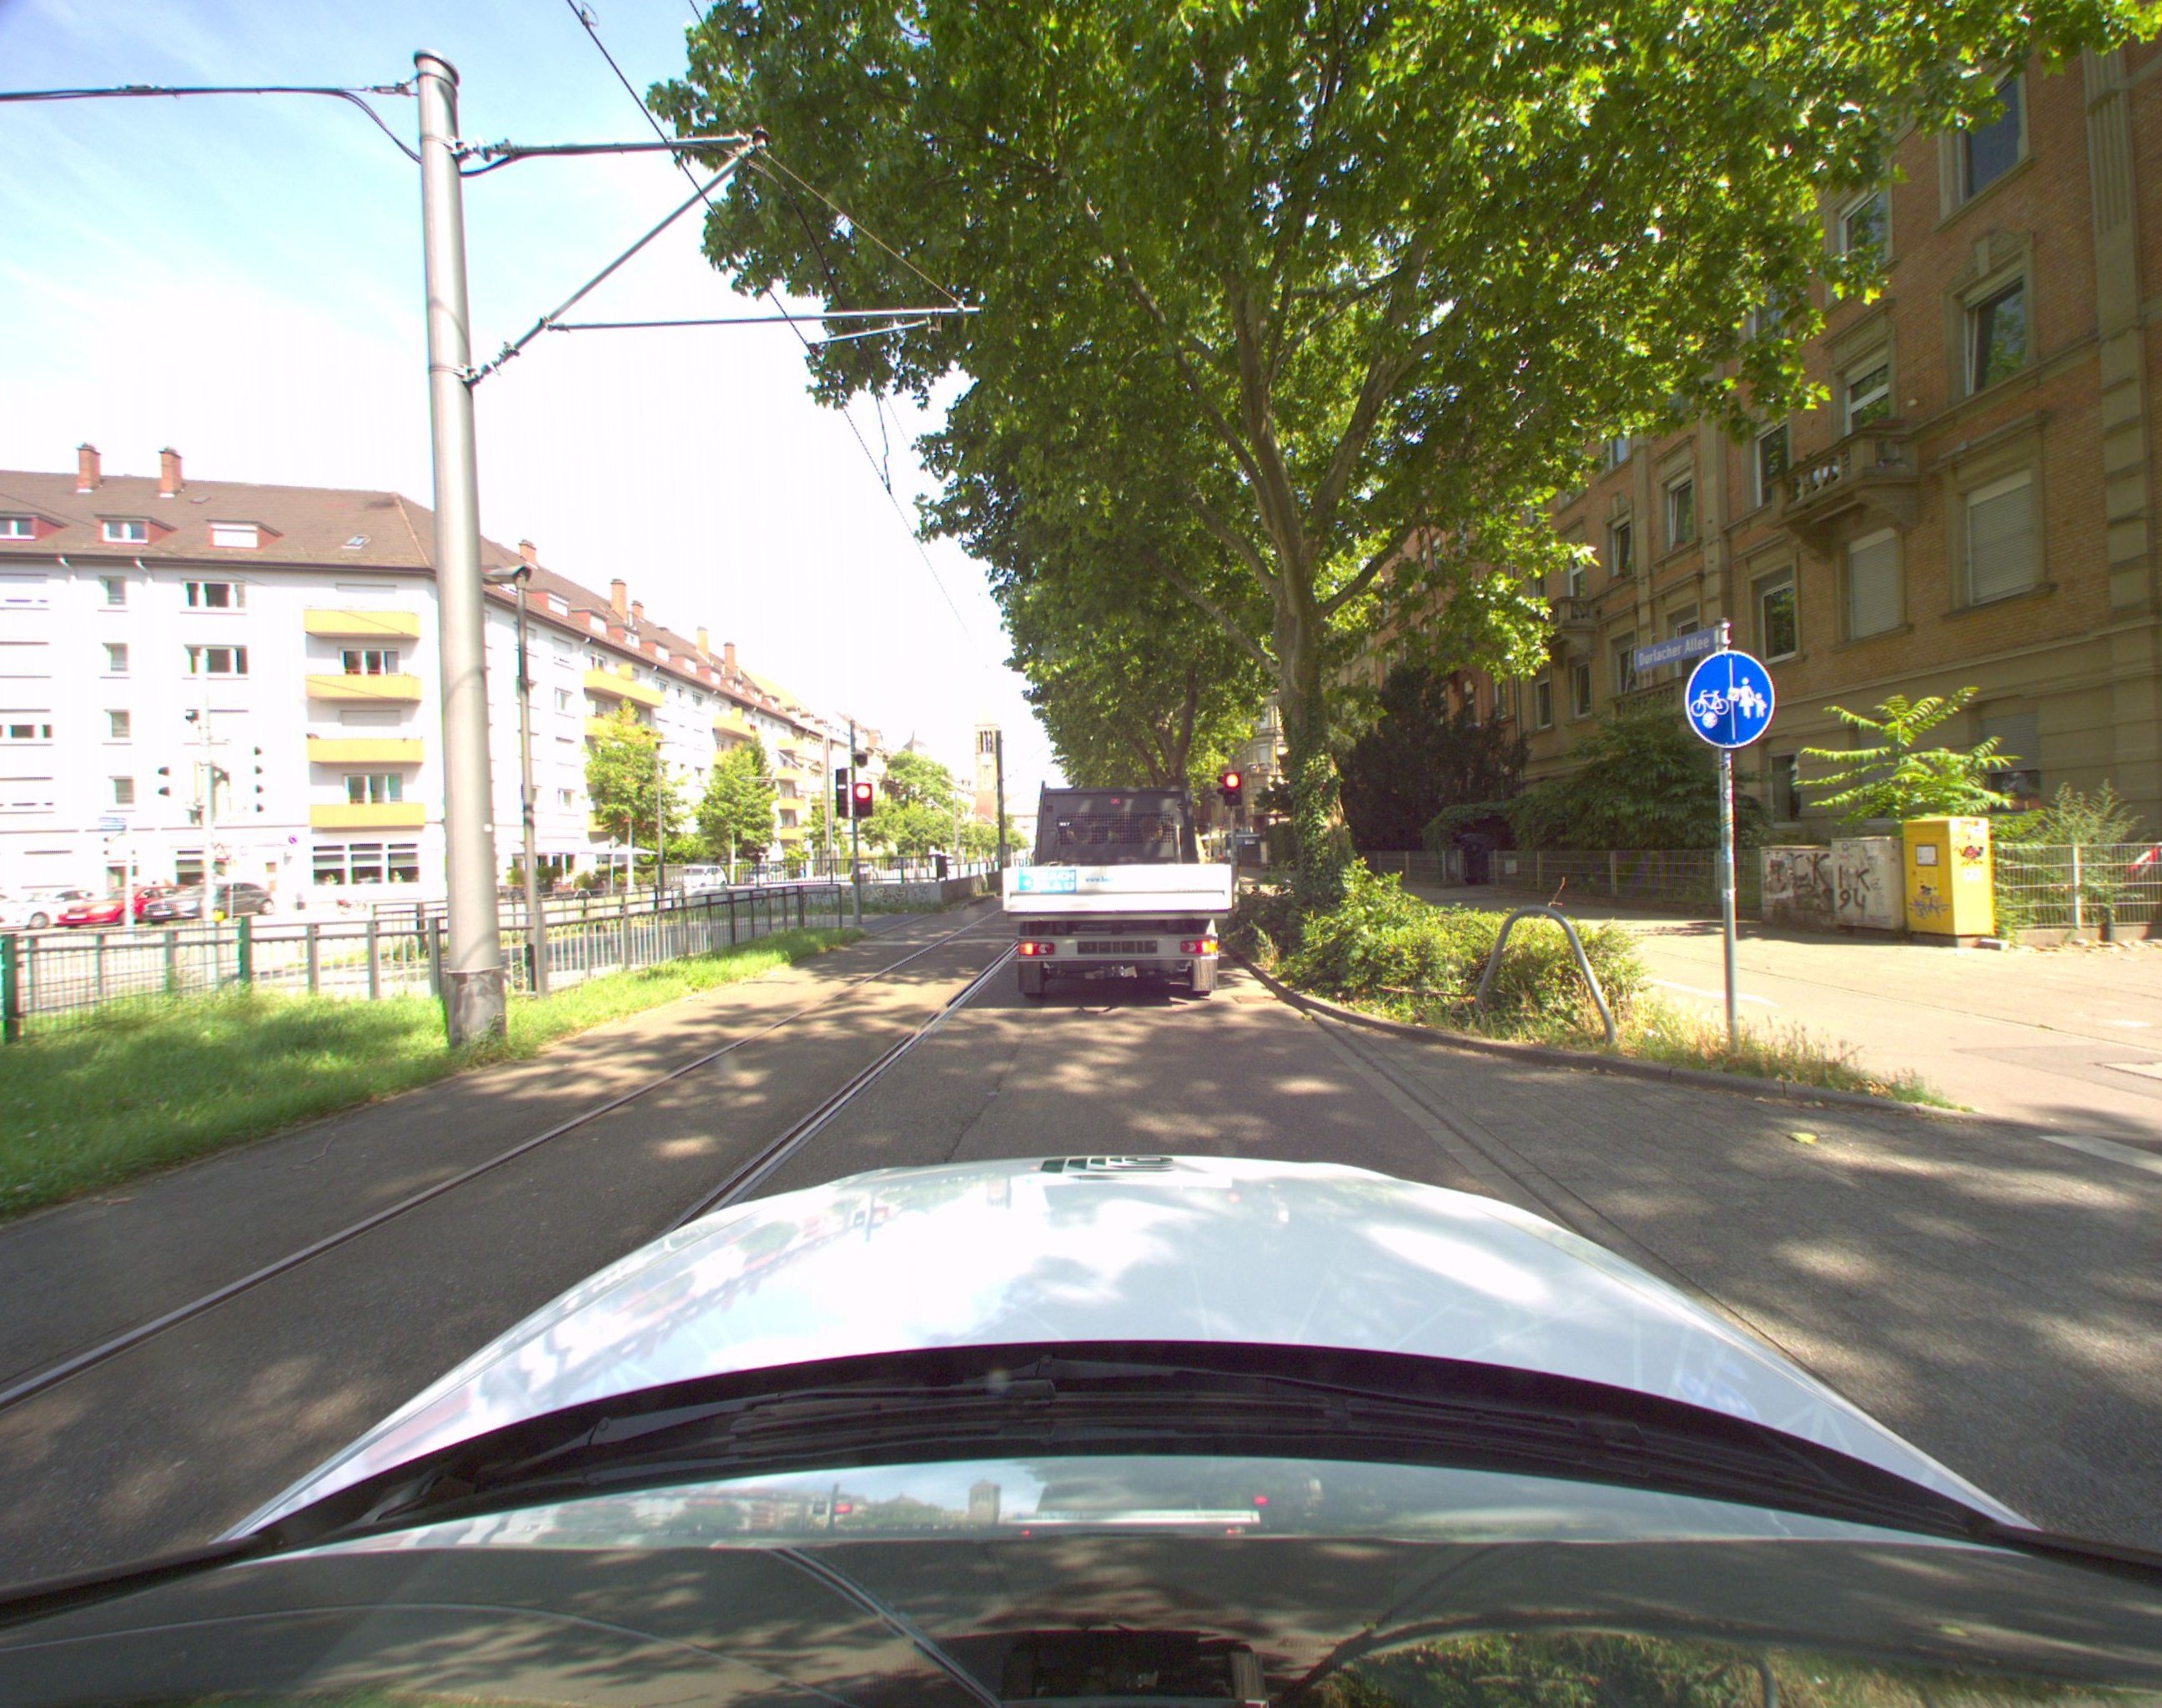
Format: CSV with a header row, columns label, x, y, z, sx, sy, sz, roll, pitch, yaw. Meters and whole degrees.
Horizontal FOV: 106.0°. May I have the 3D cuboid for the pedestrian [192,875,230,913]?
label,x,y,z,sx,sy,sz,roll,pitch,yaw
pedestrian,-37.316,1.698,34.933,0.861,1.572,0.685,-2,0,-22

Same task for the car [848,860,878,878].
label,x,y,z,sx,sy,sz,roll,pitch,yaw
car,-19.578,1.327,73.342,1.767,1.498,3.994,-2,0,-4

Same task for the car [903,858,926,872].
label,x,y,z,sx,sy,sz,roll,pitch,yaw
car,-19.364,1.308,94.721,1.764,1.498,4.000,-2,0,0

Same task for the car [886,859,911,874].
label,x,y,z,sx,sy,sz,roll,pitch,yaw
car,-19.443,1.316,86.880,1.764,1.498,4.000,-2,0,0

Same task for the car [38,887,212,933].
label,x,y,z,sx,sy,sz,roll,pitch,yaw
car,-36.497,2.091,31.276,1.930,1.406,4.158,-2,0,-6

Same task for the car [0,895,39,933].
label,x,y,z,sx,sy,sz,roll,pitch,yaw
car,-41.835,2.339,29.903,1.930,1.406,4.158,-2,0,-6

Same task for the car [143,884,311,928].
label,x,y,z,sx,sy,sz,roll,pitch,yaw
car,-33.139,1.971,31.849,1.830,1.376,4.637,-2,0,-4

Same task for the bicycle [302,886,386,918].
label,x,y,z,sx,sy,sz,roll,pitch,yaw
bicycle,-30.075,1.934,33.314,0.908,1.137,2.807,-2,0,-1

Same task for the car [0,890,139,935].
label,x,y,z,sx,sy,sz,roll,pitch,yaw
car,-39.284,2.198,31.107,1.930,1.406,4.158,-2,0,-6

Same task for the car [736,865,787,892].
label,x,y,z,sx,sy,sz,roll,pitch,yaw
car,-20.296,1.546,51.870,1.767,1.498,3.994,-4,0,-4

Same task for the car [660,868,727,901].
label,x,y,z,sx,sy,sz,roll,pitch,yaw
car,-20.511,1.556,43.289,1.767,1.498,3.994,-4,0,-4

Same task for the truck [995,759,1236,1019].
label,x,y,z,sx,sy,sz,roll,pitch,yaw
truck,0.416,0.315,9.593,2.130,2.319,4.404,-1,0,3
